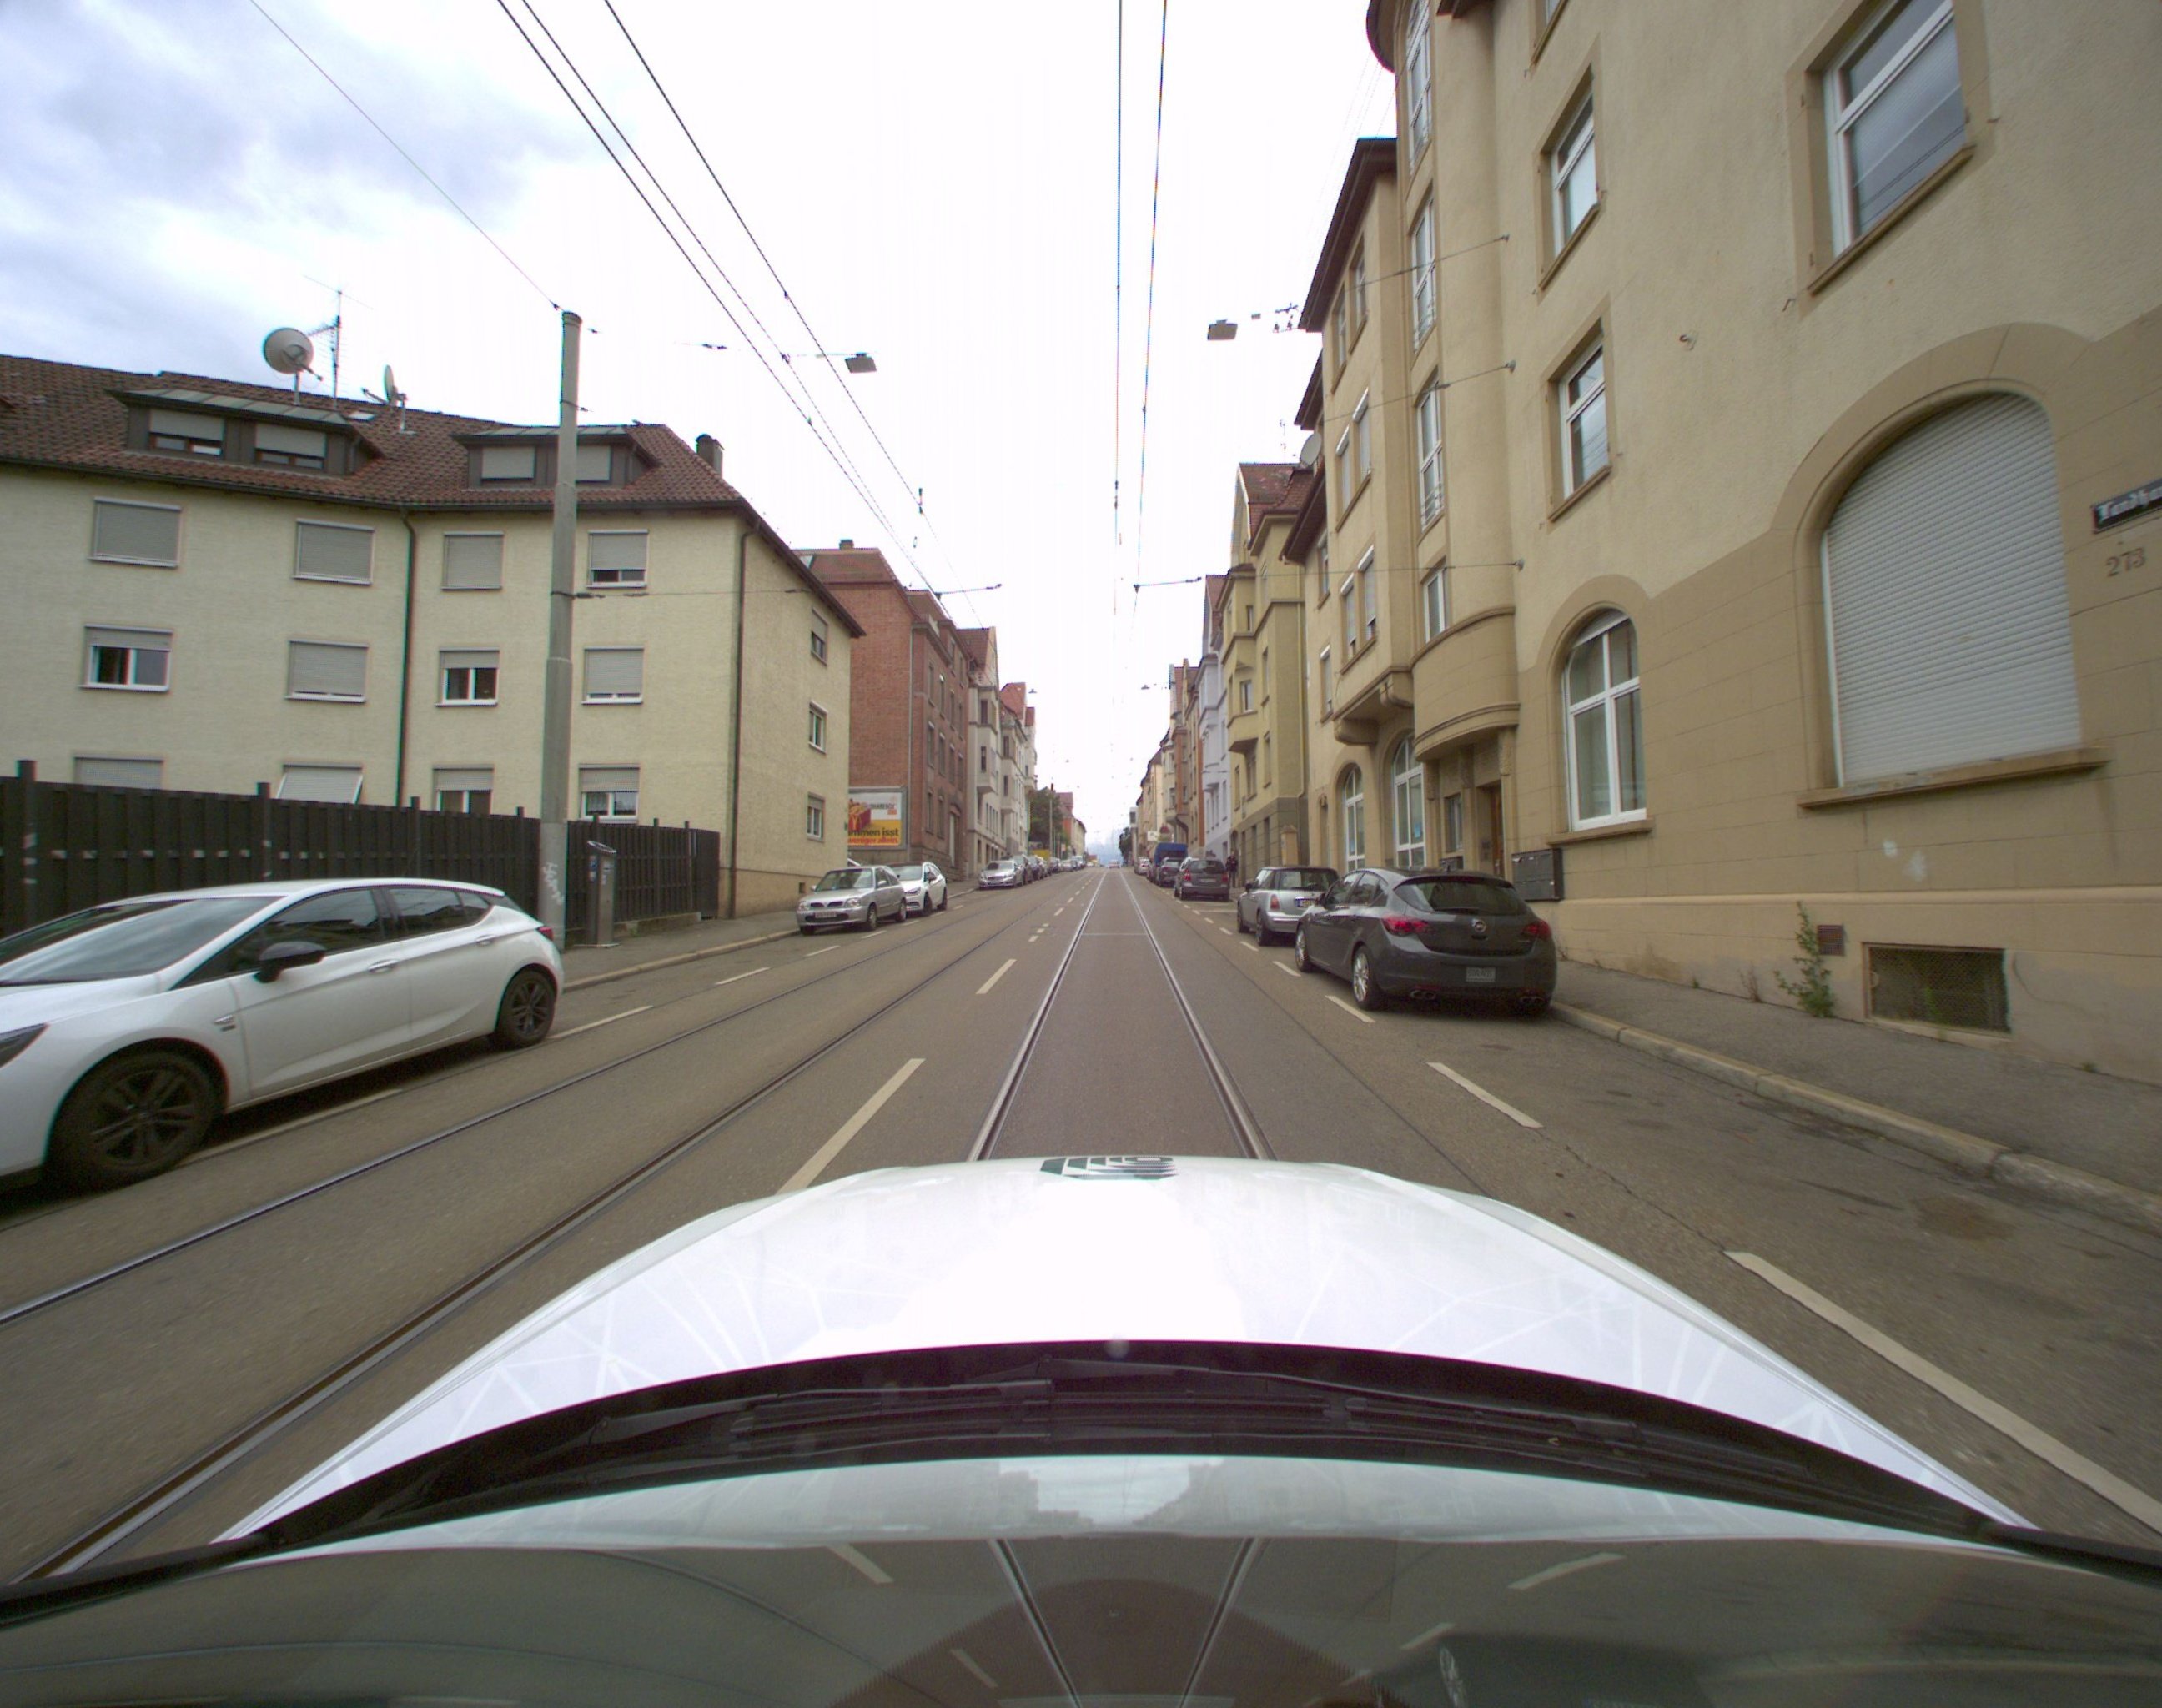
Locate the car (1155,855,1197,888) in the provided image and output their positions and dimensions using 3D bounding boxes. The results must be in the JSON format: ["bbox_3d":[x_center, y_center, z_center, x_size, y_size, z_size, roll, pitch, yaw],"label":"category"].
[{"bbox_3d":[4.926,0.894,42.787,1.773,1.530,4.193,3,0,1],"label":"car"}]

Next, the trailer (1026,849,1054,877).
[{"bbox_3d":[-3.308,0.701,66.380,1.741,2.155,4.074,-3,0,3],"label":"trailer"}]

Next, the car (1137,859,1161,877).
[{"bbox_3d":[5.837,1.181,70.150,1.744,1.390,4.308,2,0,1],"label":"car"}]

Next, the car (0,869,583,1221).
[{"bbox_3d":[-5.338,0.880,4.996,1.712,1.403,4.315,-3,0,2],"label":"car"}]

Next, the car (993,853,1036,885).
[{"bbox_3d":[-3.836,0.824,47.833,1.820,1.718,4.917,-3,0,3],"label":"car"}]

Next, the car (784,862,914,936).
[{"bbox_3d":[-5.119,0.942,18.522,1.594,1.368,3.810,-4,0,3],"label":"car"}]

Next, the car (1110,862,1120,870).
[{"bbox_3d":[6.268,2.171,149.019,1.666,1.513,3.798,0,0,1],"label":"car"}]

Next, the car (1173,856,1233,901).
[{"bbox_3d":[4.496,0.860,30.550,1.820,1.519,4.030,2,0,3],"label":"car"}]

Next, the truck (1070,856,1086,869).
[{"bbox_3d":[-0.477,1.467,142.325,2.270,2.188,8.031,0,0,3],"label":"truck"}]

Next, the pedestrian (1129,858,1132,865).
[{"bbox_3d":[11.694,1.757,192.780,0.787,1.667,0.799,0,-1,4],"label":"pedestrian"}]

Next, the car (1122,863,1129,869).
[{"bbox_3d":[12.388,3.303,228.015,1.985,1.563,4.292,0,0,3],"label":"car"}]

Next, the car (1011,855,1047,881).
[{"bbox_3d":[-3.513,0.936,56.238,1.866,1.664,4.895,-3,0,3],"label":"car"}]

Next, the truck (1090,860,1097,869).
[{"bbox_3d":[4.085,3.436,264.412,2.293,3.037,9.037,0,-1,2],"label":"truck"}]

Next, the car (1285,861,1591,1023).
[{"bbox_3d":[3.720,0.819,9.382,1.832,1.403,4.169,1,-1,2],"label":"car"}]

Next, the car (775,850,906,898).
[{"bbox_3d":[-10.601,0.874,36.166,5.160,1.818,1.939,-3,0,-2],"label":"car"}]

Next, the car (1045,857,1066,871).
[{"bbox_3d":[-2.582,1.030,83.254,1.772,1.357,4.295,0,0,4],"label":"car"}]

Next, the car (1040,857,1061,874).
[{"bbox_3d":[-2.880,1.089,77.932,1.690,1.468,3.025,-3,-1,3],"label":"car"}]

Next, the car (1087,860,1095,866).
[{"bbox_3d":[2.658,2.324,210.065,1.847,1.607,4.299,0,0,2],"label":"car"}]

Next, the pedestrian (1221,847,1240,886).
[{"bbox_3d":[6.719,0.560,36.578,0.540,1.682,0.515,-5,-3,-6],"label":"pedestrian"}]

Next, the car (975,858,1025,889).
[{"bbox_3d":[-4.105,0.975,42.226,1.820,1.429,4.842,-3,0,3],"label":"car"}]

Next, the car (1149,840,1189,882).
[{"bbox_3d":[5.147,0.426,48.229,1.986,2.376,5.058,0,-1,2],"label":"car"}]

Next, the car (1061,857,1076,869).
[{"bbox_3d":[-1.819,1.278,117.425,1.736,1.736,4.523,-2,-1,4],"label":"car"}]

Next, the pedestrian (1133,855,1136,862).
[{"bbox_3d":[12.653,1.043,192.784,0.787,1.667,0.799,0,-1,4],"label":"pedestrian"}]

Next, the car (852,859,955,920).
[{"bbox_3d":[-4.895,0.922,23.132,1.822,1.429,4.627,-4,0,0],"label":"car"}]

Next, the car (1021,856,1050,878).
[{"bbox_3d":[-3.437,0.959,62.192,1.690,1.594,4.271,-3,0,3],"label":"car"}]

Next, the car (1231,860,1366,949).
[{"bbox_3d":[3.961,0.855,15.403,1.688,1.404,3.670,2,0,3],"label":"car"}]

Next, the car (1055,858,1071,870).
[{"bbox_3d":[-2.312,1.321,105.854,1.689,1.556,3.853,0,0,4],"label":"car"}]
